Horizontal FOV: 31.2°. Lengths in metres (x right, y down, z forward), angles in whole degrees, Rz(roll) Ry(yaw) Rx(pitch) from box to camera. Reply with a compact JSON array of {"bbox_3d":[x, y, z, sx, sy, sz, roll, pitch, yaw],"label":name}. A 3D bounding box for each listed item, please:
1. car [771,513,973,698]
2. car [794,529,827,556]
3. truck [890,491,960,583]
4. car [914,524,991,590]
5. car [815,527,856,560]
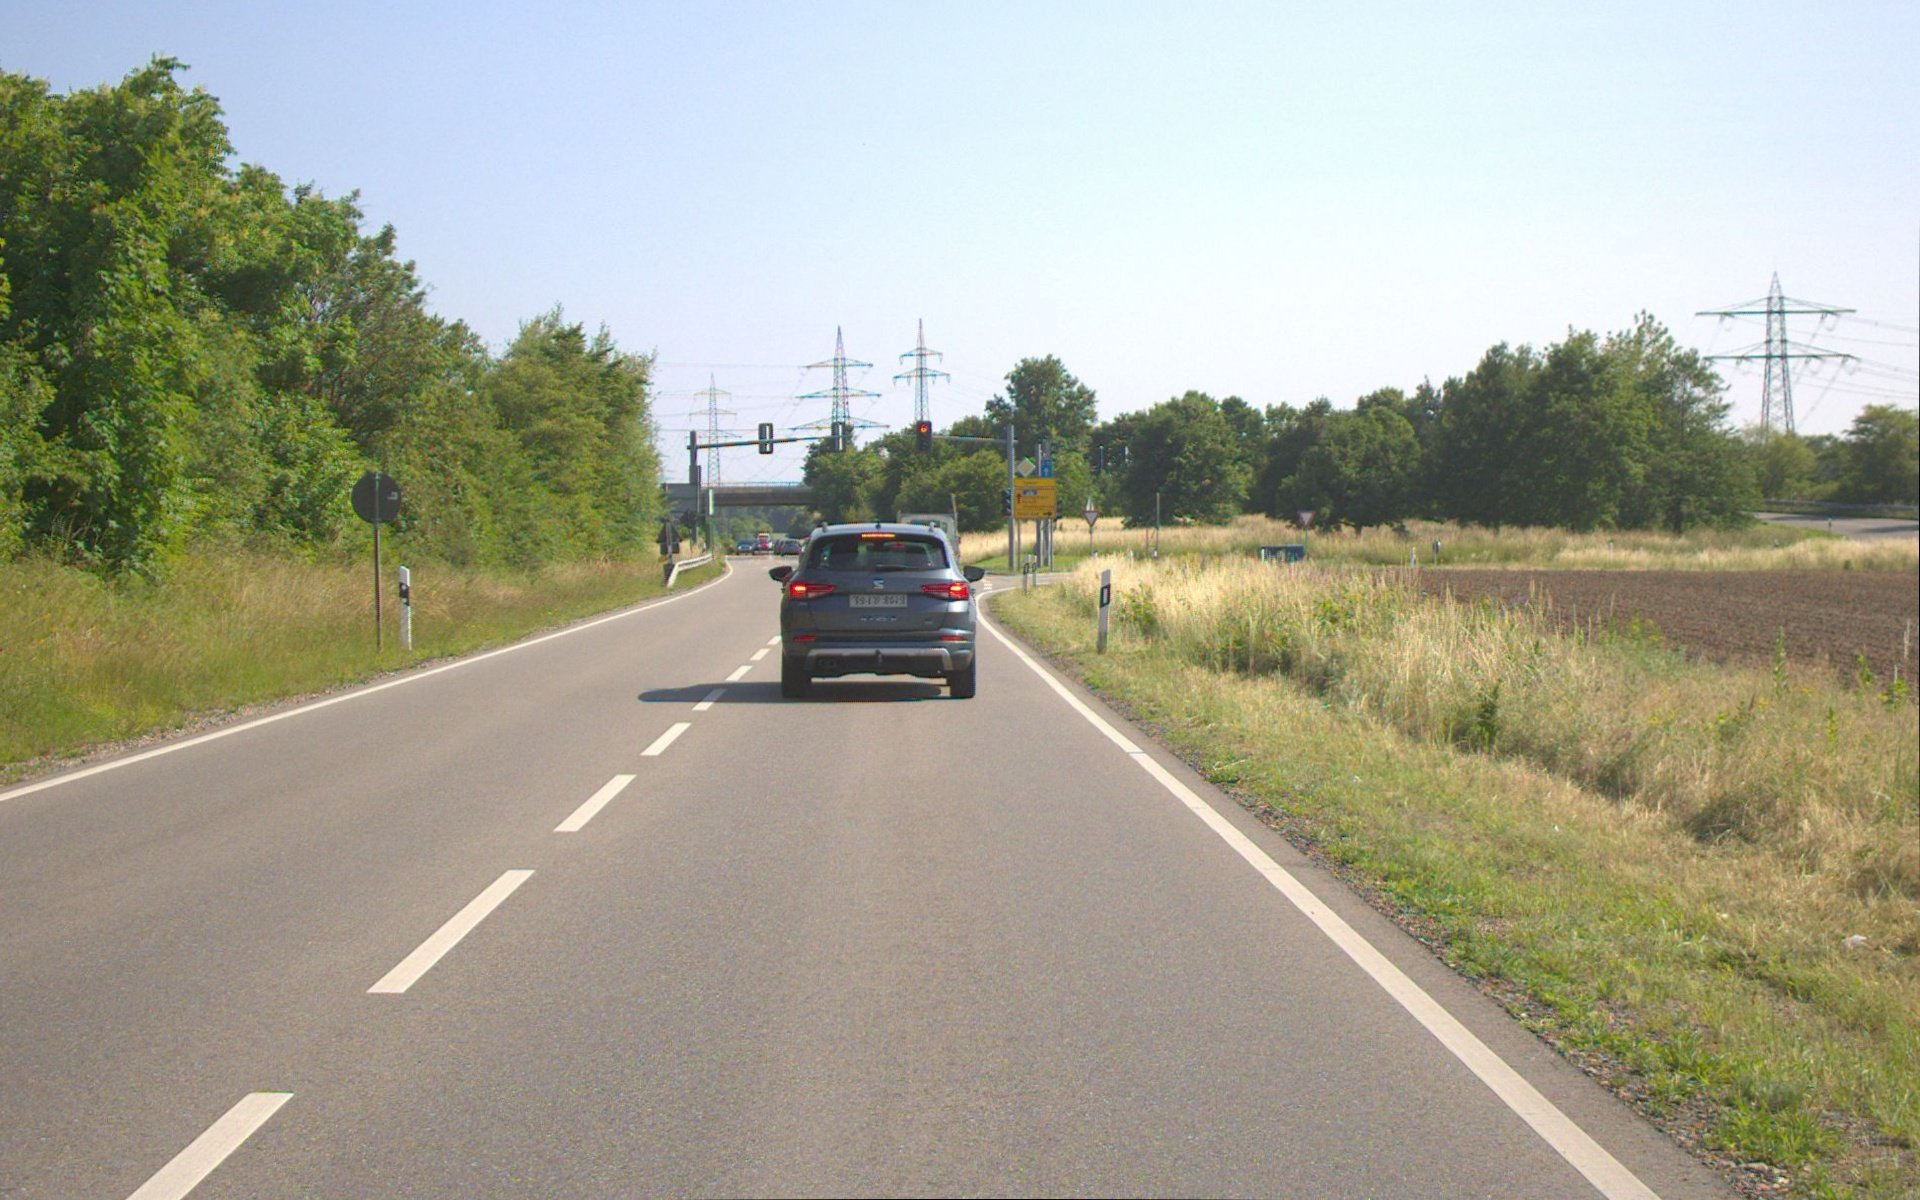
[{"bbox_3d":[-0.818,-0.002,32.463,1.785,1.623,4.001,0,1,-1],"label":"car"},{"bbox_3d":[-8.083,-3.122,185.978,1.684,1.375,3.534,0,1,-4],"label":"car"},{"bbox_3d":[-1.175,-2.154,118.323,2.337,3.055,5.810,0,1,0],"label":"truck"},{"bbox_3d":[-0.196,-1.070,83.655,1.785,1.538,4.001,0,1,-1],"label":"car"},{"bbox_3d":[-6.017,-2.735,165.816,1.816,1.535,4.001,-1,1,-5],"label":"car"}]
